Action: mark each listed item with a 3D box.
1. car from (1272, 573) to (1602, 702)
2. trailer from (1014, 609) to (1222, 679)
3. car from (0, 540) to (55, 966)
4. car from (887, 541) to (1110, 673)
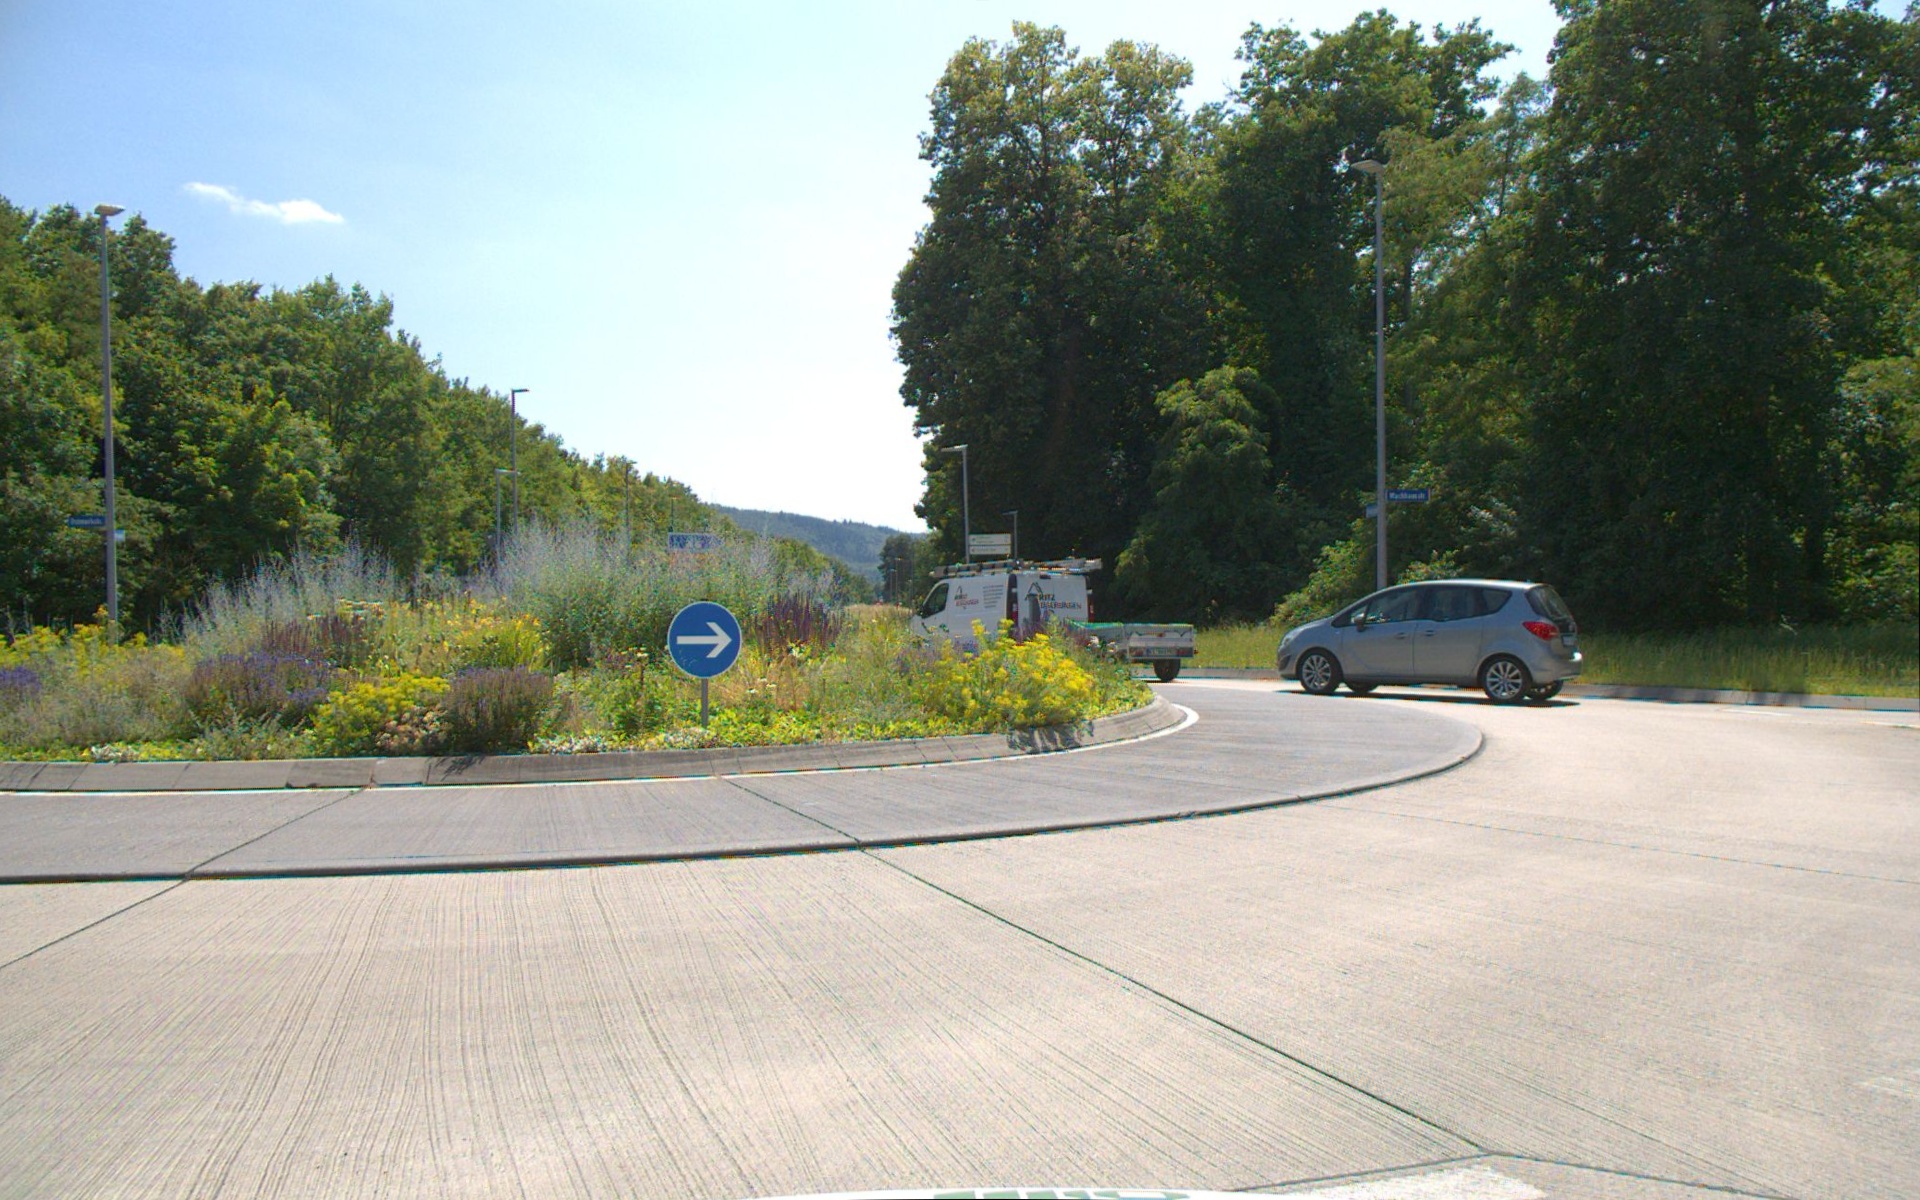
[{"bbox_3d":[6.537,0.490,22.827,4.043,1.635,1.784,0,-1,35],"label":"car"},{"bbox_3d":[2.658,0.725,28.515,2.098,1.116,3.322,0,-1,-29],"label":"trailer"},{"bbox_3d":[-6.199,0.623,6.559,4.643,1.668,2.001,-1,0,20],"label":"car"},{"bbox_3d":[0.646,0.146,32.192,2.143,2.357,4.932,1,-1,-29],"label":"car"}]
